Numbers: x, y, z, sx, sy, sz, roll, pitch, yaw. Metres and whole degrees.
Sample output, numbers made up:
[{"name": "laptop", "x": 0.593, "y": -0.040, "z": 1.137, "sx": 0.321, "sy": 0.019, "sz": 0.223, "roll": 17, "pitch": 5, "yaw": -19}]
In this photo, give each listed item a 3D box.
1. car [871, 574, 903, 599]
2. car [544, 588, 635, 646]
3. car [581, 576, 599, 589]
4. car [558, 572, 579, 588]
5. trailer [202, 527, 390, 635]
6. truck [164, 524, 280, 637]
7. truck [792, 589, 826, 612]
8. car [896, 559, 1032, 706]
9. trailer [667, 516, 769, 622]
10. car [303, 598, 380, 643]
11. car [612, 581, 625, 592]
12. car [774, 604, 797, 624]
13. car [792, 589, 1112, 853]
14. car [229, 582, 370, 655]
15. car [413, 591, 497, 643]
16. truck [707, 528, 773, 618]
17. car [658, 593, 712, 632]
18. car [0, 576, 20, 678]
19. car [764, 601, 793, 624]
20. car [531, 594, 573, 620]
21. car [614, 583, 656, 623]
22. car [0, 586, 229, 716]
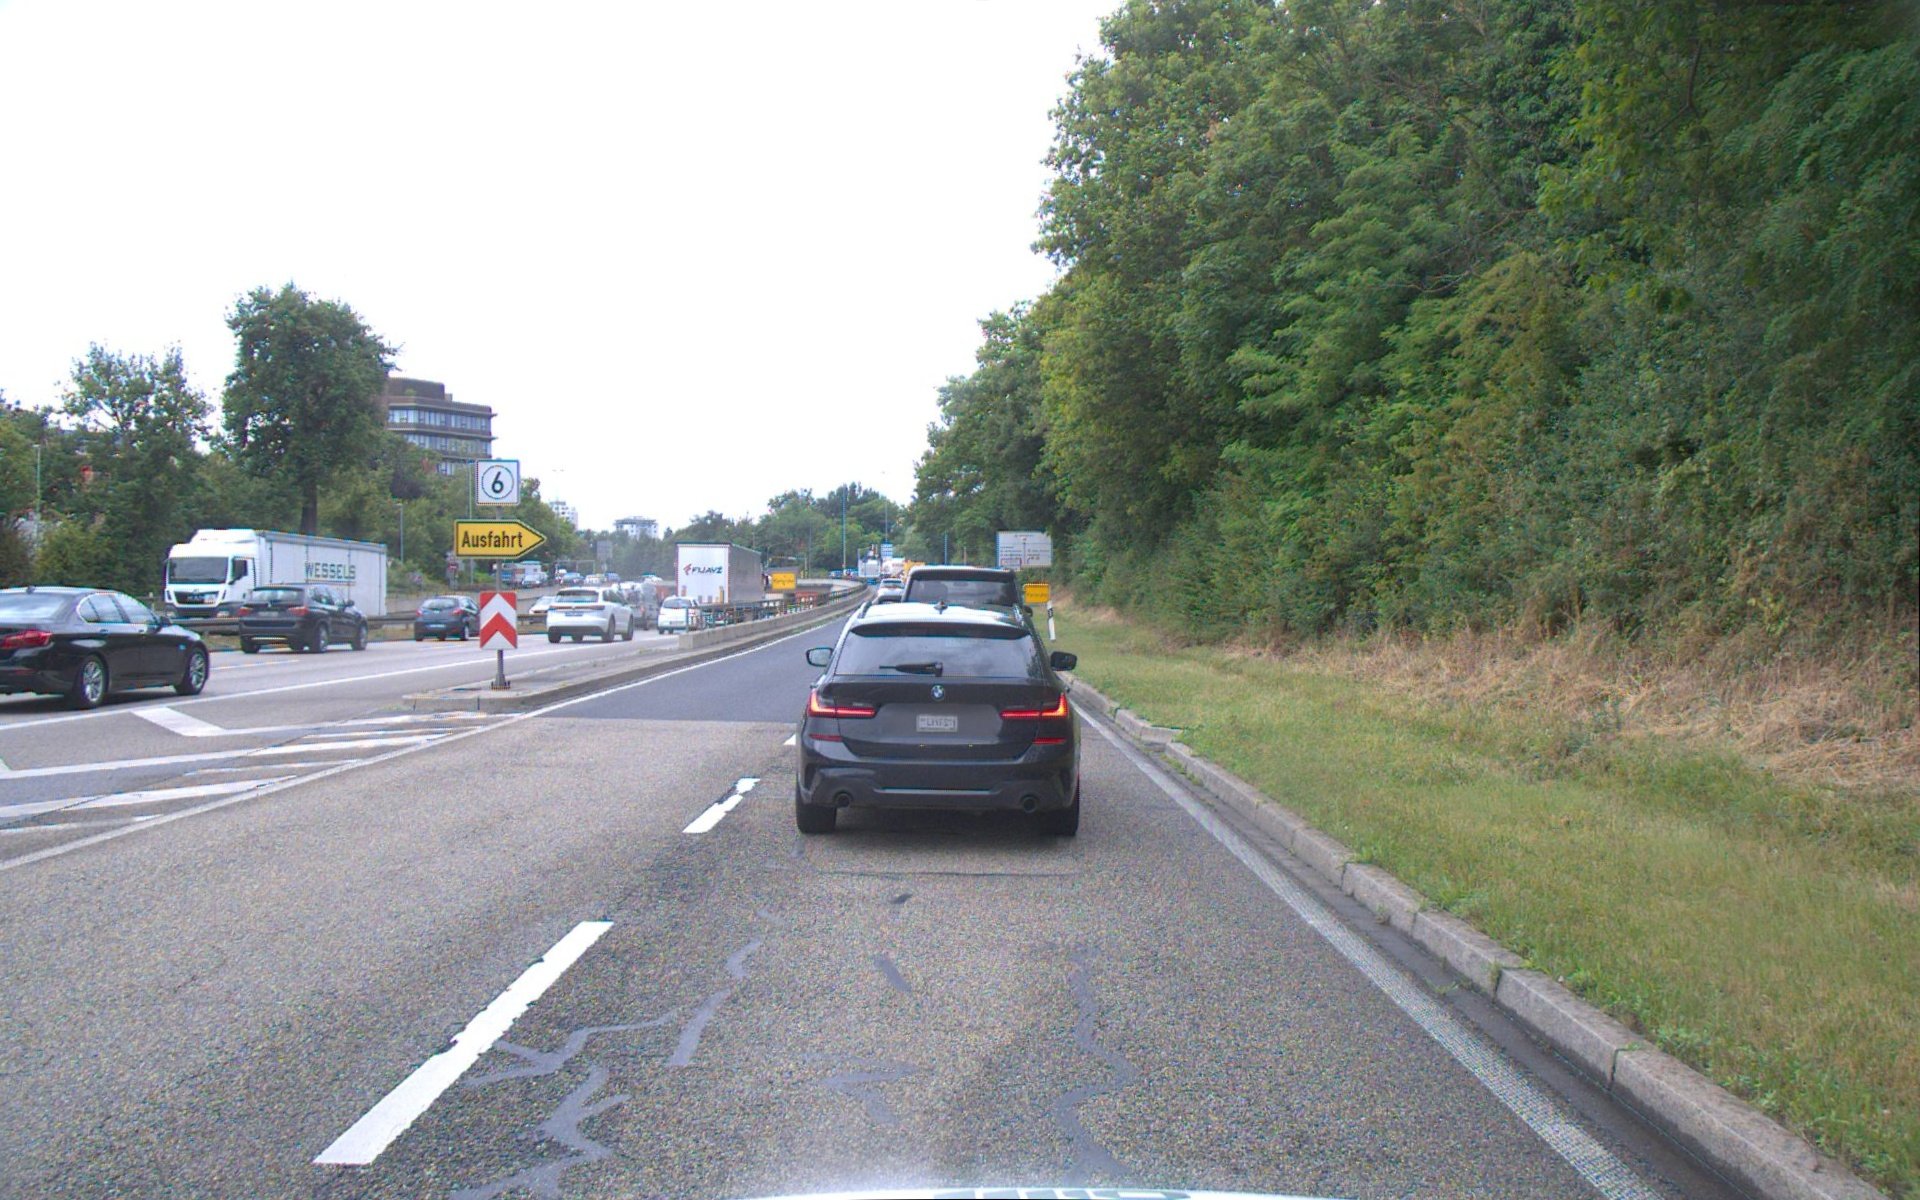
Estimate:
[{"name": "car", "x": -4.831, "y": -0.890, "z": 109.693, "sx": 1.891, "sy": 1.624, "sz": 3.877, "roll": 0, "pitch": 0, "yaw": 1}, {"name": "car", "x": -11.567, "y": 0.500, "z": 51.909, "sx": 1.906, "sy": 1.721, "sz": 4.506, "roll": 0, "pitch": 0, "yaw": -1}, {"name": "car", "x": -41.905, "y": -1.931, "z": 187.423, "sx": 1.409, "sy": 1.471, "sz": 3.242, "roll": 0, "pitch": 0, "yaw": -3}, {"name": "car", "x": -40.101, "y": -2.041, "z": 169.578, "sx": 1.408, "sy": 1.614, "sz": 3.243, "roll": 0, "pitch": 0, "yaw": -1}, {"name": "trailer", "x": -27.429, "y": -0.748, "z": 69.287, "sx": 2.541, "sy": 4.052, "sz": 13.780, "roll": 0, "pitch": 0, "yaw": -1}, {"name": "truck", "x": -27.301, "y": -0.718, "z": 61.350, "sx": 2.543, "sy": 4.060, "sz": 3.999, "roll": 0, "pitch": 0, "yaw": -1}, {"name": "truck", "x": -17.024, "y": 0.035, "z": 186.914, "sx": 3.207, "sy": 2.553, "sz": 7.659, "roll": 0, "pitch": 0, "yaw": -1}, {"name": "car", "x": 0.048, "y": 0.415, "z": 23.641, "sx": 1.759, "sy": 1.904, "sz": 4.000, "roll": 0, "pitch": 0, "yaw": 0}, {"name": "trailer", "x": -12.018, "y": -1.435, "z": 83.578, "sx": 3.069, "sy": 4.807, "sz": 14.556, "roll": 1, "pitch": 0, "yaw": -1}, {"name": "car", "x": -22.872, "y": 0.721, "z": 61.238, "sx": 1.565, "sy": 1.612, "sz": 3.563, "roll": 0, "pitch": 0, "yaw": -1}, {"name": "car", "x": -46.087, "y": -1.809, "z": 223.259, "sx": 1.406, "sy": 1.523, "sz": 3.159, "roll": 0, "pitch": 0, "yaw": -5}, {"name": "car", "x": -13.134, "y": 1.050, "z": 124.404, "sx": 1.418, "sy": 1.516, "sz": 3.062, "roll": 0, "pitch": 0, "yaw": 0}, {"name": "car", "x": -0.111, "y": 0.682, "z": 11.394, "sx": 1.809, "sy": 1.492, "sz": 3.998, "roll": 0, "pitch": 0, "yaw": -2}, {"name": "car", "x": -16.204, "y": 0.412, "z": 40.789, "sx": 1.852, "sy": 1.711, "sz": 4.305, "roll": 0, "pitch": 0, "yaw": -2}, {"name": "car", "x": -16.775, "y": 0.531, "z": 55.112, "sx": 1.653, "sy": 1.636, "sz": 4.007, "roll": 1, "pitch": 0, "yaw": -2}, {"name": "truck", "x": -12.094, "y": -1.442, "z": 91.196, "sx": 3.021, "sy": 4.780, "sz": 4.231, "roll": 1, "pitch": 0, "yaw": -1}, {"name": "car", "x": -11.256, "y": 0.489, "z": 67.966, "sx": 1.733, "sy": 1.577, "sz": 3.491, "roll": 0, "pitch": 0, "yaw": -2}, {"name": "car", "x": -16.434, "y": 0.441, "z": 25.260, "sx": 1.716, "sy": 1.664, "sz": 4.266, "roll": 0, "pitch": 0, "yaw": 0}, {"name": "car", "x": -12.511, "y": 0.831, "z": 114.421, "sx": 1.667, "sy": 1.555, "sz": 3.469, "roll": 0, "pitch": 0, "yaw": -1}, {"name": "car", "x": -23.732, "y": 0.404, "z": 96.239, "sx": 1.643, "sy": 1.504, "sz": 3.707, "roll": 0, "pitch": 0, "yaw": -2}, {"name": "car", "x": -16.971, "y": 0.137, "z": 86.519, "sx": 1.414, "sy": 2.080, "sz": 3.680, "roll": 0, "pitch": 0, "yaw": 0}, {"name": "car", "x": -11.313, "y": 0.574, "z": 21.335, "sx": 1.677, "sy": 1.482, "sz": 4.666, "roll": 1, "pitch": 0, "yaw": 0}]
